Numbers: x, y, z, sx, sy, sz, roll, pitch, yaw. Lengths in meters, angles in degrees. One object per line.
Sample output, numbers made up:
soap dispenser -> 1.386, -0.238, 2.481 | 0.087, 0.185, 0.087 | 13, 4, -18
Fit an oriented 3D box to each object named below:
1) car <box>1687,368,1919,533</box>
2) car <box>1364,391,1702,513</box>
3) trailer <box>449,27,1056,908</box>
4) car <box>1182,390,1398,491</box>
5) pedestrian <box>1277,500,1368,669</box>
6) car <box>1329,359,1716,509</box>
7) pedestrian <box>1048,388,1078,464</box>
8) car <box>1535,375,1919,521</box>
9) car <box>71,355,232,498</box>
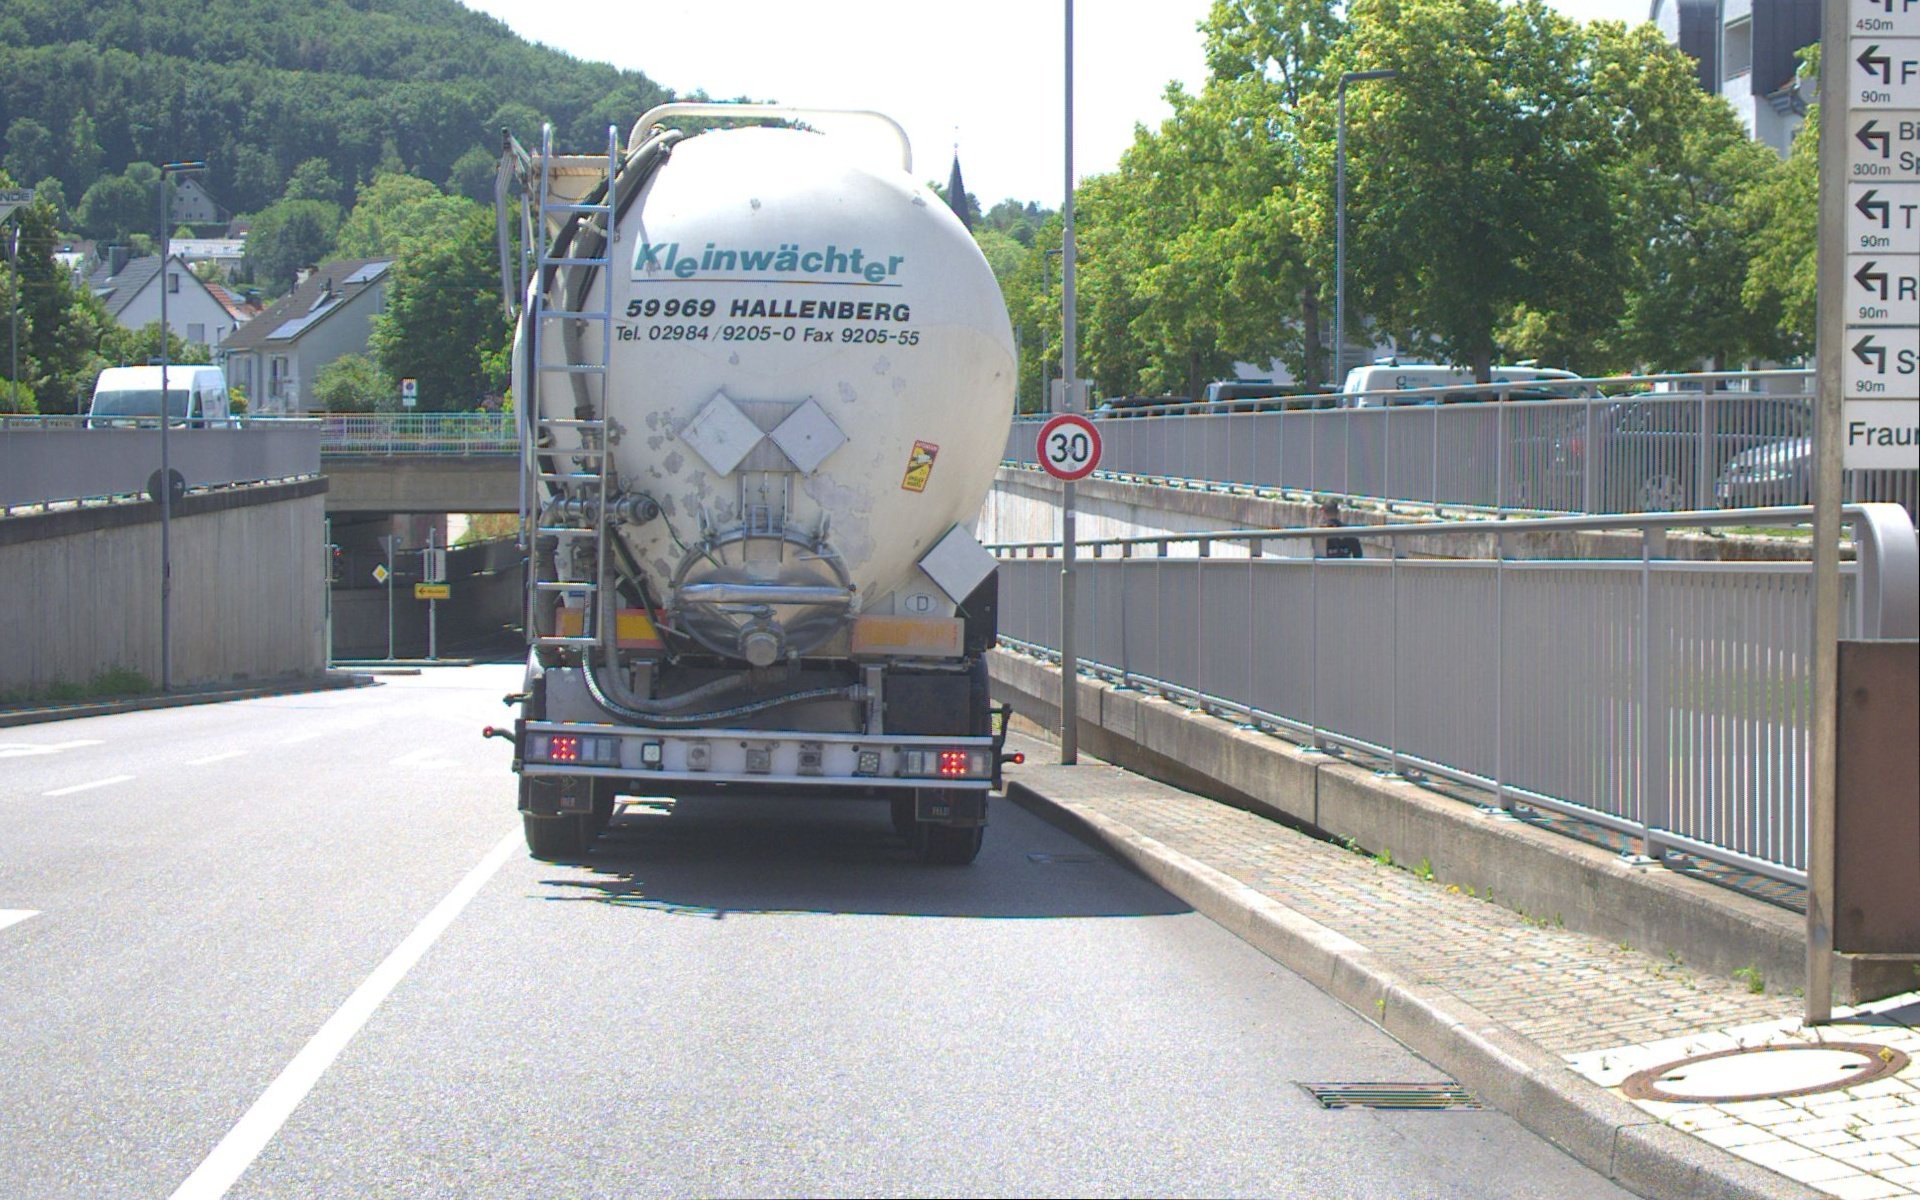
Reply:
car -> 9.007, -1.390, 32.162 | 3.986, 1.493, 1.749 | 0, 2, -2
car -> 7.674, -1.990, 46.288 | 4.204, 1.590, 1.686 | 0, 2, -2
trailer -> -1.367, -0.622, 22.736 | 2.734, 4.050, 13.314 | 1, 0, -3
car -> 6.306, -3.050, 65.941 | 3.905, 1.878, 1.686 | 0, 2, -2
pedestrian -> 3.861, -0.162, 36.672 | 0.836, 1.776, 0.788 | 0, 0, -3
car -> 7.974, -2.358, 49.056 | 5.112, 2.056, 1.989 | 0, 2, -2
pedestrian -> 2.405, -4.055, 80.268 | 0.673, 1.773, 0.594 | 0, 2, -2
car -> 8.417, -1.620, 36.757 | 4.204, 1.493, 1.686 | 0, 2, -2
car -> -15.348, -3.298, 65.550 | 2.065, 2.527, 5.663 | 2, 2, -4
